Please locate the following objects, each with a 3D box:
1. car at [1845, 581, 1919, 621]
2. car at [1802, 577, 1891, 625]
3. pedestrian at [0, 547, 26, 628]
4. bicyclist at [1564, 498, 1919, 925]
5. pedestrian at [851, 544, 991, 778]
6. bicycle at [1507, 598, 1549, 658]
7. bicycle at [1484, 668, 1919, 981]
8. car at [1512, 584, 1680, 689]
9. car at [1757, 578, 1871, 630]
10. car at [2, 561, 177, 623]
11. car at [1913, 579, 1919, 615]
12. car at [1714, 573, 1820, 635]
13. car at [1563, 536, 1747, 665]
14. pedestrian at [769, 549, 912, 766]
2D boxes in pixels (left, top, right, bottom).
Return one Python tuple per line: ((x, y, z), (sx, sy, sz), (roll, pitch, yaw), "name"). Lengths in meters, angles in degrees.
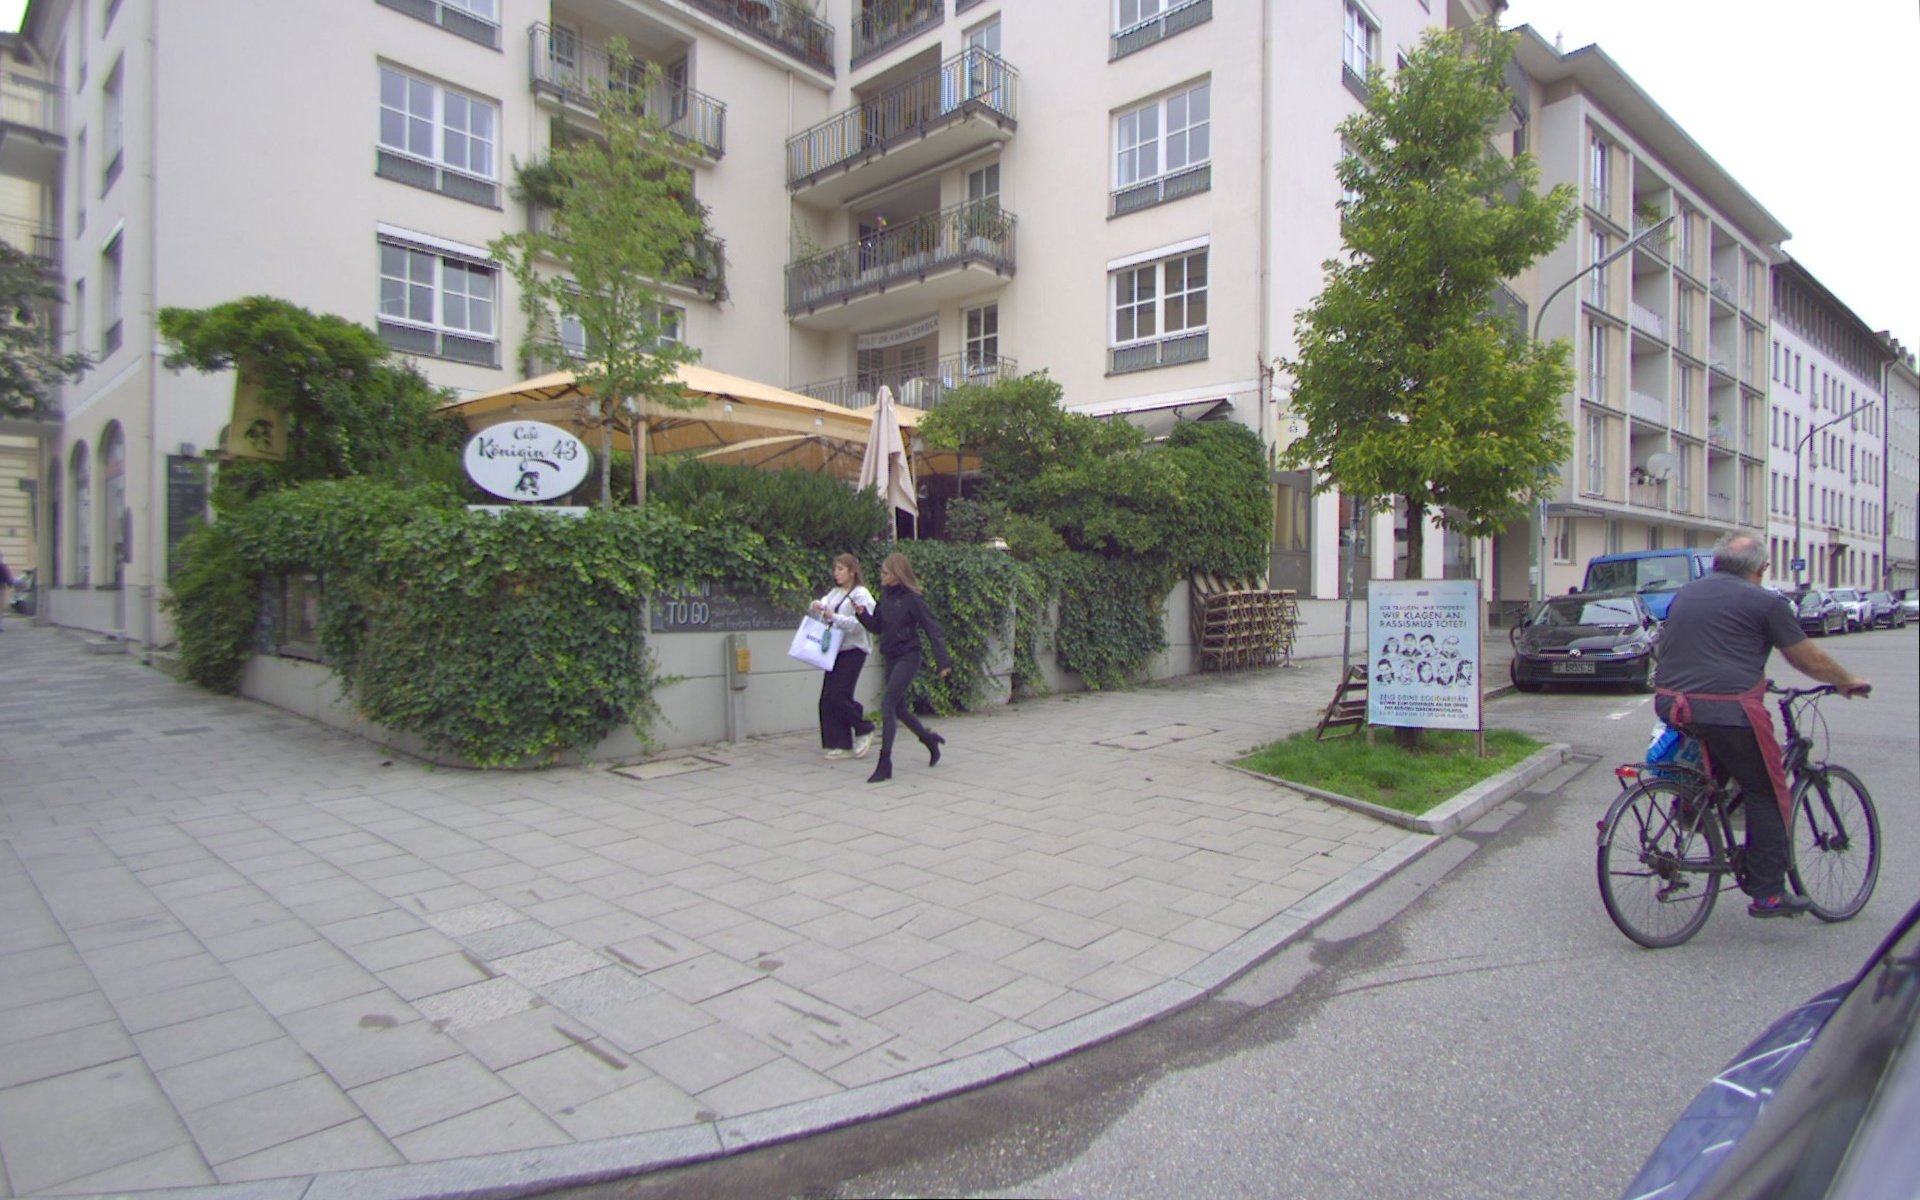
((34.302, 0.050, 37.275), (4.410, 1.399, 1.831), (0, -2, -39), "car")
((30.214, 0.045, 34.465), (4.049, 1.488, 1.704), (0, -3, -41), "car")
((-20.725, -0.270, 21.820), (0.829, 1.735, 0.776), (1, 0, 42), "pedestrian")
((3.441, 0.421, 4.450), (1.027, 1.629, 0.880), (1, 0, -20), "bicyclist")
((-0.288, 0.410, 7.637), (0.678, 1.648, 0.818), (2, 2, 41), "pedestrian")
((10.954, 0.514, 19.501), (0.563, 1.083, 1.766), (1, 1, 33), "bicycle")
((3.504, 0.874, 4.496), (2.144, 1.032, 0.881), (0, 1, -21), "bicycle")
((9.909, 0.505, 15.641), (1.711, 1.412, 3.944), (-3, -2, 39), "car")
((26.333, 0.125, 31.165), (4.609, 1.448, 1.775), (0, -4, -39), "car")
((-23.313, -0.226, 27.165), (1.571, 1.549, 3.427), (1, 1, 43), "car")
((42.859, -0.145, 43.964), (3.318, 1.536, 1.617), (0, -3, -38), "car")
((22.383, 0.141, 28.017), (1.775, 1.543, 4.234), (-5, -4, 44), "car")
((14.019, -0.042, 20.280), (2.108, 2.242, 4.950), (-5, -2, 44), "car")
((-0.961, 0.406, 8.148), (0.806, 1.626, 0.817), (2, 2, 42), "pedestrian")
